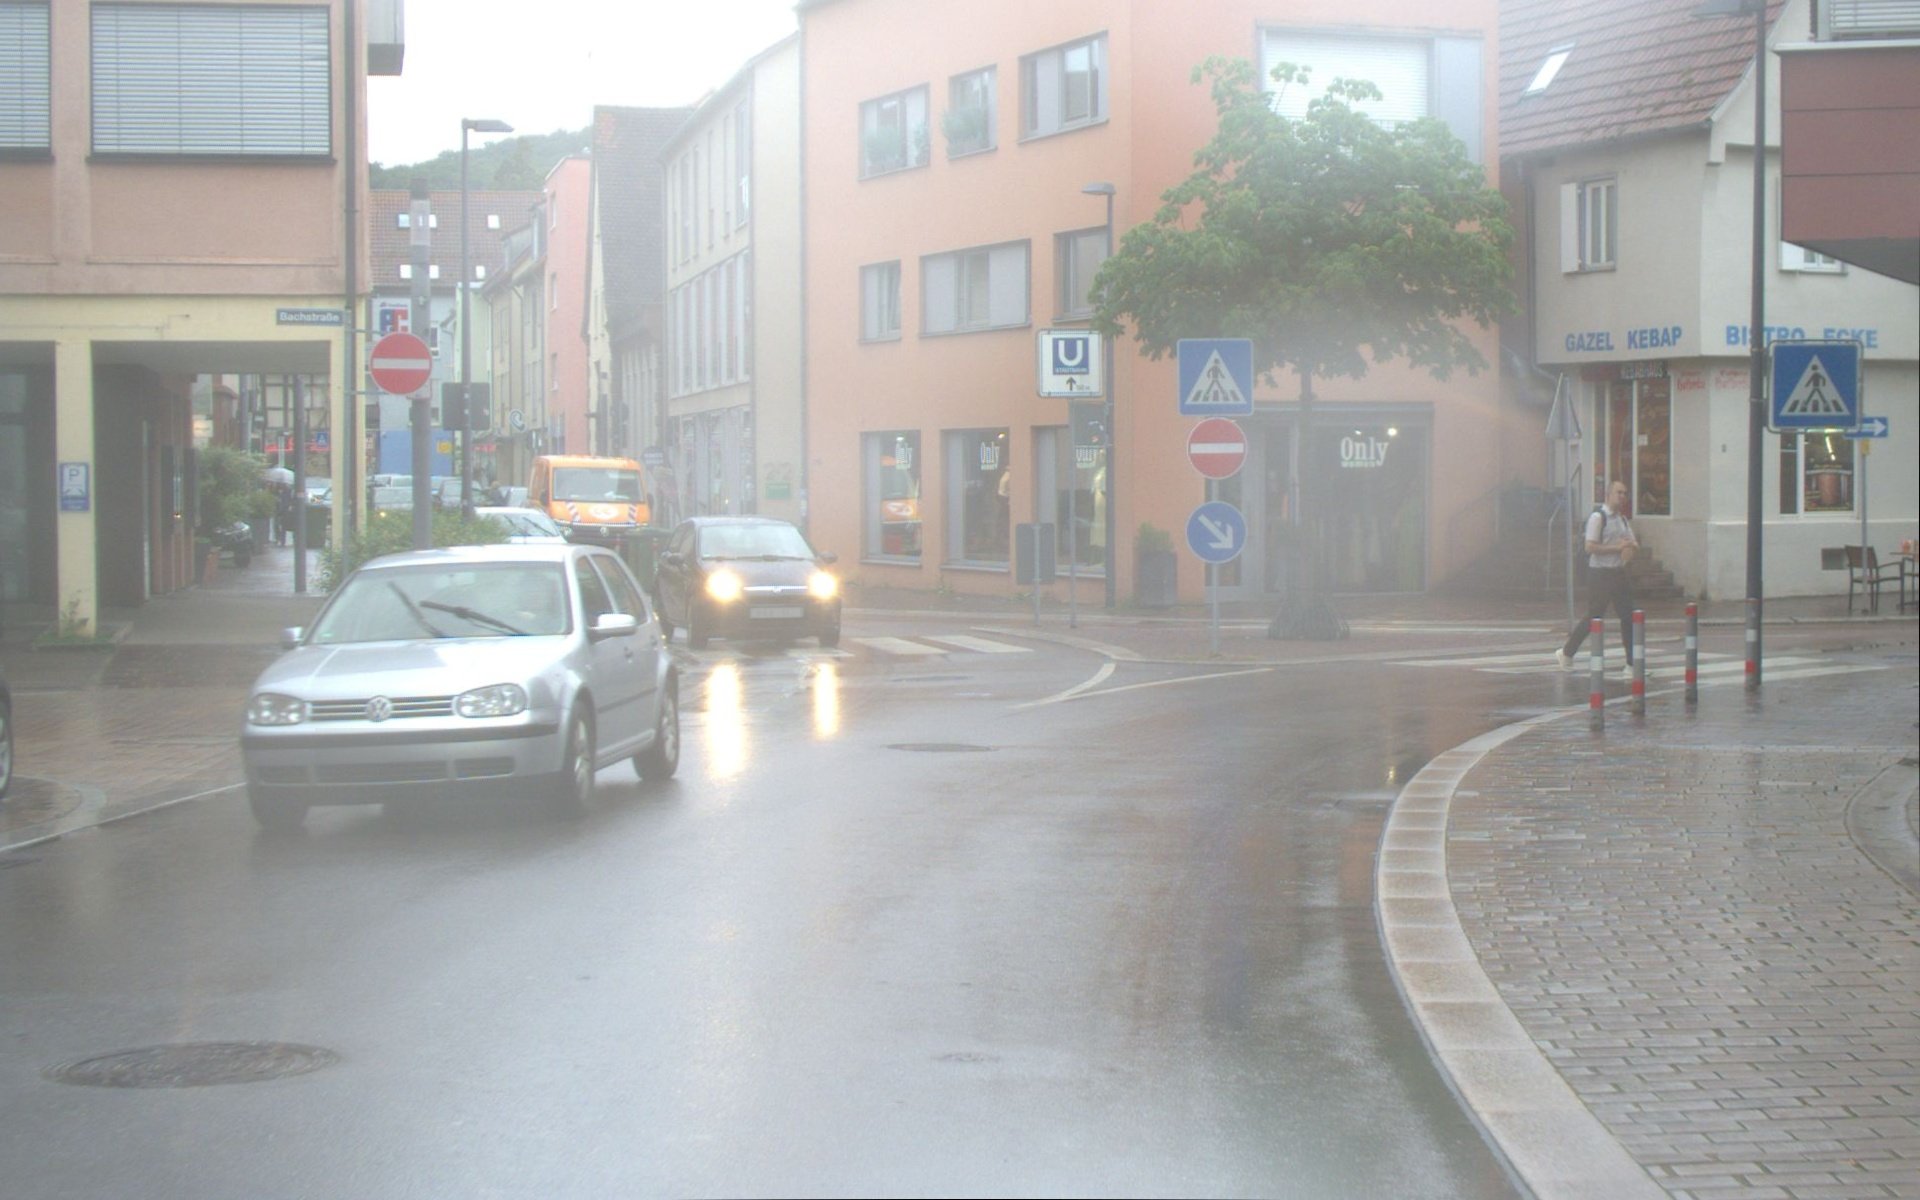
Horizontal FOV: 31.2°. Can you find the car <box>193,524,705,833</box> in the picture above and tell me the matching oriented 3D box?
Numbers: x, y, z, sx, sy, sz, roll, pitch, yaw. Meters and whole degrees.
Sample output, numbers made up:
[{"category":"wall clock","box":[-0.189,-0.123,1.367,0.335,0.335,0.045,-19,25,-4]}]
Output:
[{"category":"car","box":[-2.644,0.342,18.752,1.790,1.412,4.028,-2,1,5]}]

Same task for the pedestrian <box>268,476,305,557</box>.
[{"category":"pedestrian","box":[-16.764,-2.088,85.534,0.834,2.006,0.854,-1,2,-15]}]

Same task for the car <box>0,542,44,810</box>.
[{"category":"car","box":[-6.125,0.438,17.630,1.714,1.453,3.910,1,2,2]}]

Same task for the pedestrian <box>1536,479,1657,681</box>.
[{"category":"pedestrian","box":[6.115,-0.200,33.018,0.756,1.908,0.863,-1,2,-45]}]

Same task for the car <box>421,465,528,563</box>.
[{"category":"car","box":[-11.338,-1.996,80.115,2.103,2.139,4.869,-2,2,-11]}]

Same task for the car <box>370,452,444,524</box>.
[{"category":"car","box":[-16.260,-3.275,101.240,1.993,2.006,4.364,-2,2,-8]}]

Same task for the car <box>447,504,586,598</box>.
[{"category":"car","box":[-7.293,-0.829,56.202,1.993,1.436,4.165,-1,2,-11]}]

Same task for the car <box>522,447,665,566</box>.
[{"category":"car","box":[-7.136,-1.798,66.511,2.103,2.139,4.869,-2,2,-13]}]

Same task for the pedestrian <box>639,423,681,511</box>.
[{"category":"pedestrian","box":[-6.881,-3.045,78.815,0.866,2.006,0.708,-1,2,-14]}]

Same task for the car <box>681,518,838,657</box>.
[{"category":"car","box":[-2.303,-0.179,39.052,1.648,1.441,3.985,-2,2,-4]}]
